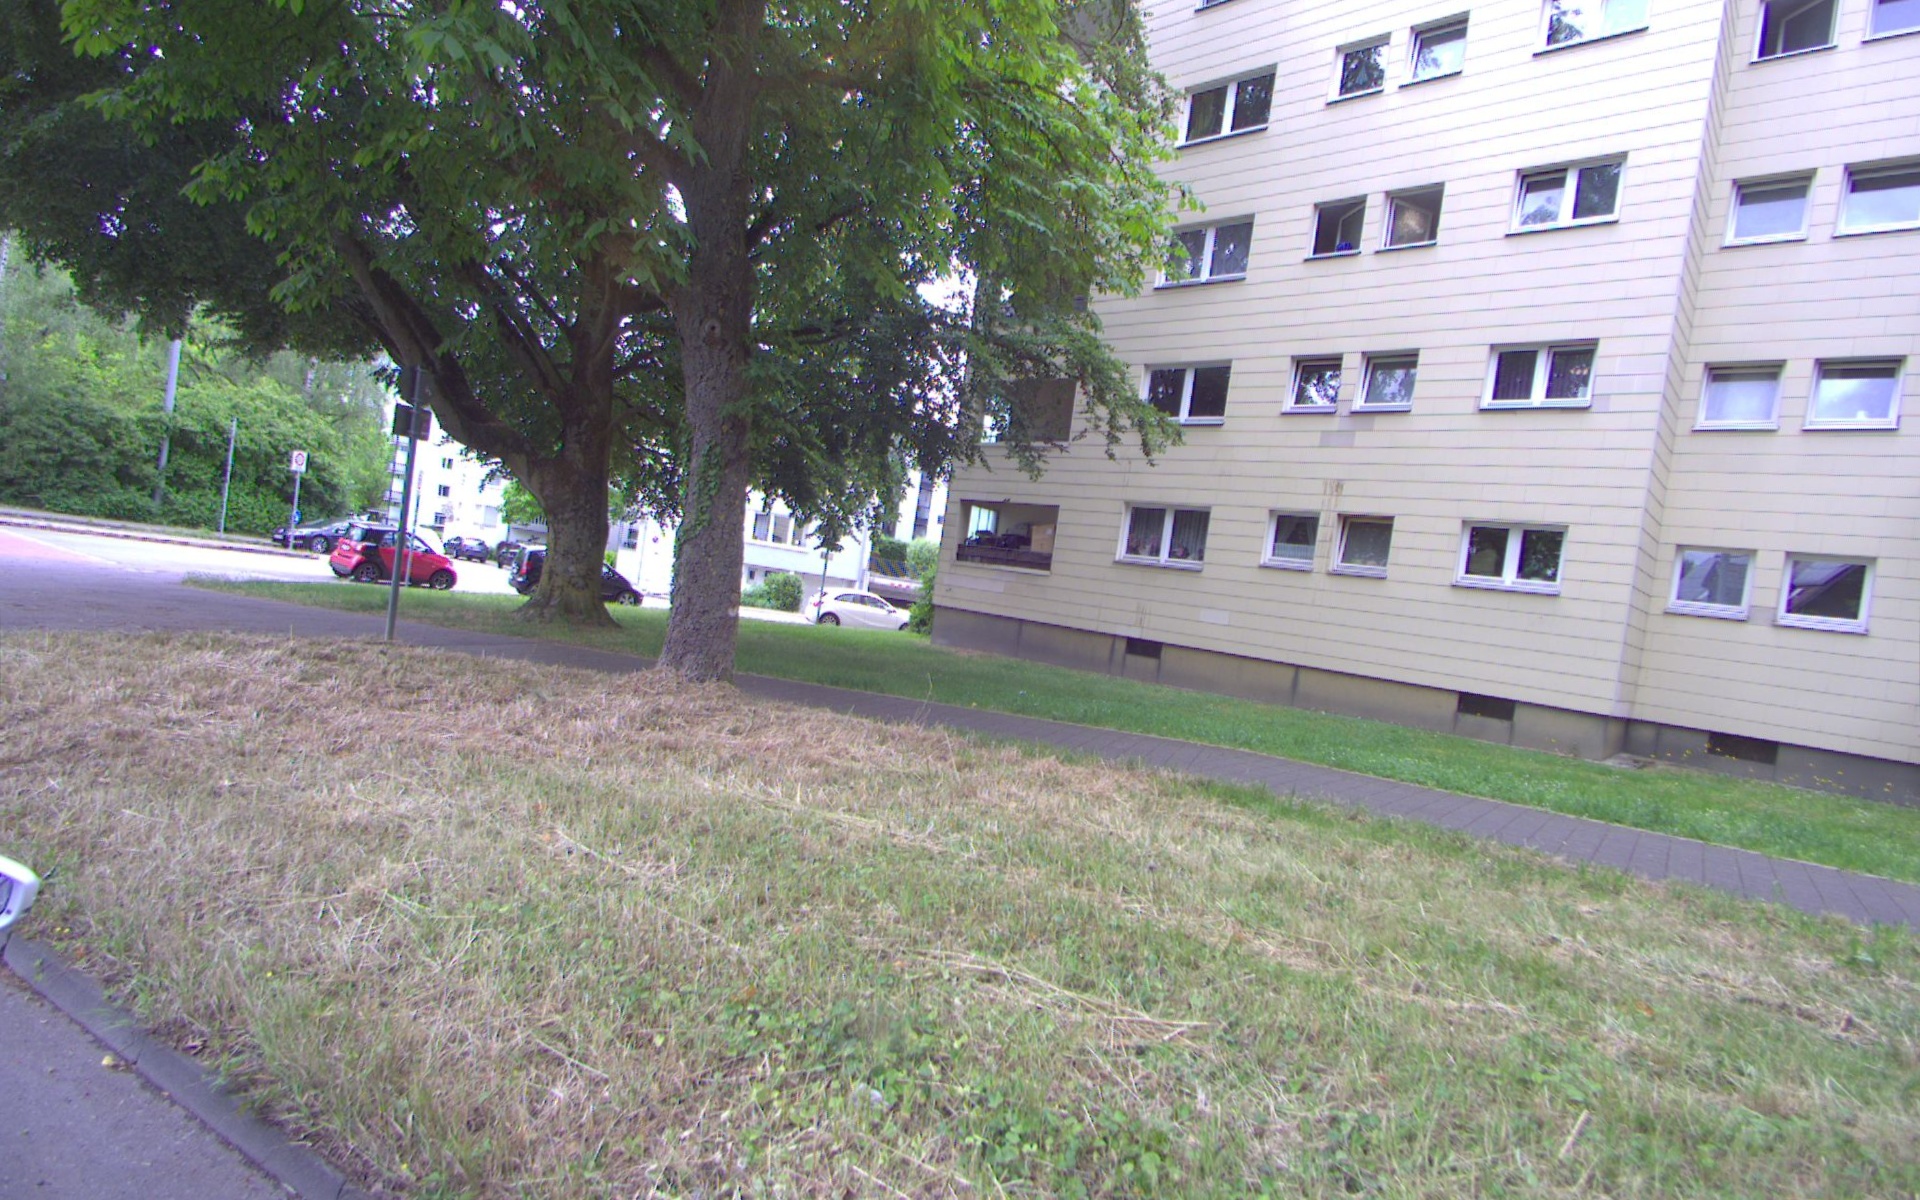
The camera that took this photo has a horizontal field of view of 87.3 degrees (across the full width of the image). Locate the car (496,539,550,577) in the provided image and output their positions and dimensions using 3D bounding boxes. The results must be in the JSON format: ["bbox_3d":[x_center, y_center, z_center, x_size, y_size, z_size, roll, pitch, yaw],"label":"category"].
[{"bbox_3d":[-23.585,-2.294,54.241,1.713,1.631,3.813,6,1,-38],"label":"car"}]

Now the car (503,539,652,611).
[{"bbox_3d":[-11.423,-0.743,30.111,3.815,1.631,1.713,7,1,-33],"label":"car"}]

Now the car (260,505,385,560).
[{"bbox_3d":[-23.776,-2.493,37.601,1.702,1.549,3.515,8,1,38],"label":"car"}]

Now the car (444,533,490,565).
[{"bbox_3d":[-30.520,-3.182,62.183,1.713,1.631,3.813,6,1,-38],"label":"car"}]

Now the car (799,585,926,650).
[{"bbox_3d":[-3.257,0.572,33.512,3.796,1.631,1.721,7,1,-18],"label":"car"}]

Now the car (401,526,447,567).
[{"bbox_3d":[-25.265,-2.537,47.350,1.709,1.631,3.823,6,1,-30],"label":"car"}]

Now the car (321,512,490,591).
[{"bbox_3d":[-14.889,-1.279,27.131,1.702,1.631,3.516,8,1,37],"label":"car"}]
